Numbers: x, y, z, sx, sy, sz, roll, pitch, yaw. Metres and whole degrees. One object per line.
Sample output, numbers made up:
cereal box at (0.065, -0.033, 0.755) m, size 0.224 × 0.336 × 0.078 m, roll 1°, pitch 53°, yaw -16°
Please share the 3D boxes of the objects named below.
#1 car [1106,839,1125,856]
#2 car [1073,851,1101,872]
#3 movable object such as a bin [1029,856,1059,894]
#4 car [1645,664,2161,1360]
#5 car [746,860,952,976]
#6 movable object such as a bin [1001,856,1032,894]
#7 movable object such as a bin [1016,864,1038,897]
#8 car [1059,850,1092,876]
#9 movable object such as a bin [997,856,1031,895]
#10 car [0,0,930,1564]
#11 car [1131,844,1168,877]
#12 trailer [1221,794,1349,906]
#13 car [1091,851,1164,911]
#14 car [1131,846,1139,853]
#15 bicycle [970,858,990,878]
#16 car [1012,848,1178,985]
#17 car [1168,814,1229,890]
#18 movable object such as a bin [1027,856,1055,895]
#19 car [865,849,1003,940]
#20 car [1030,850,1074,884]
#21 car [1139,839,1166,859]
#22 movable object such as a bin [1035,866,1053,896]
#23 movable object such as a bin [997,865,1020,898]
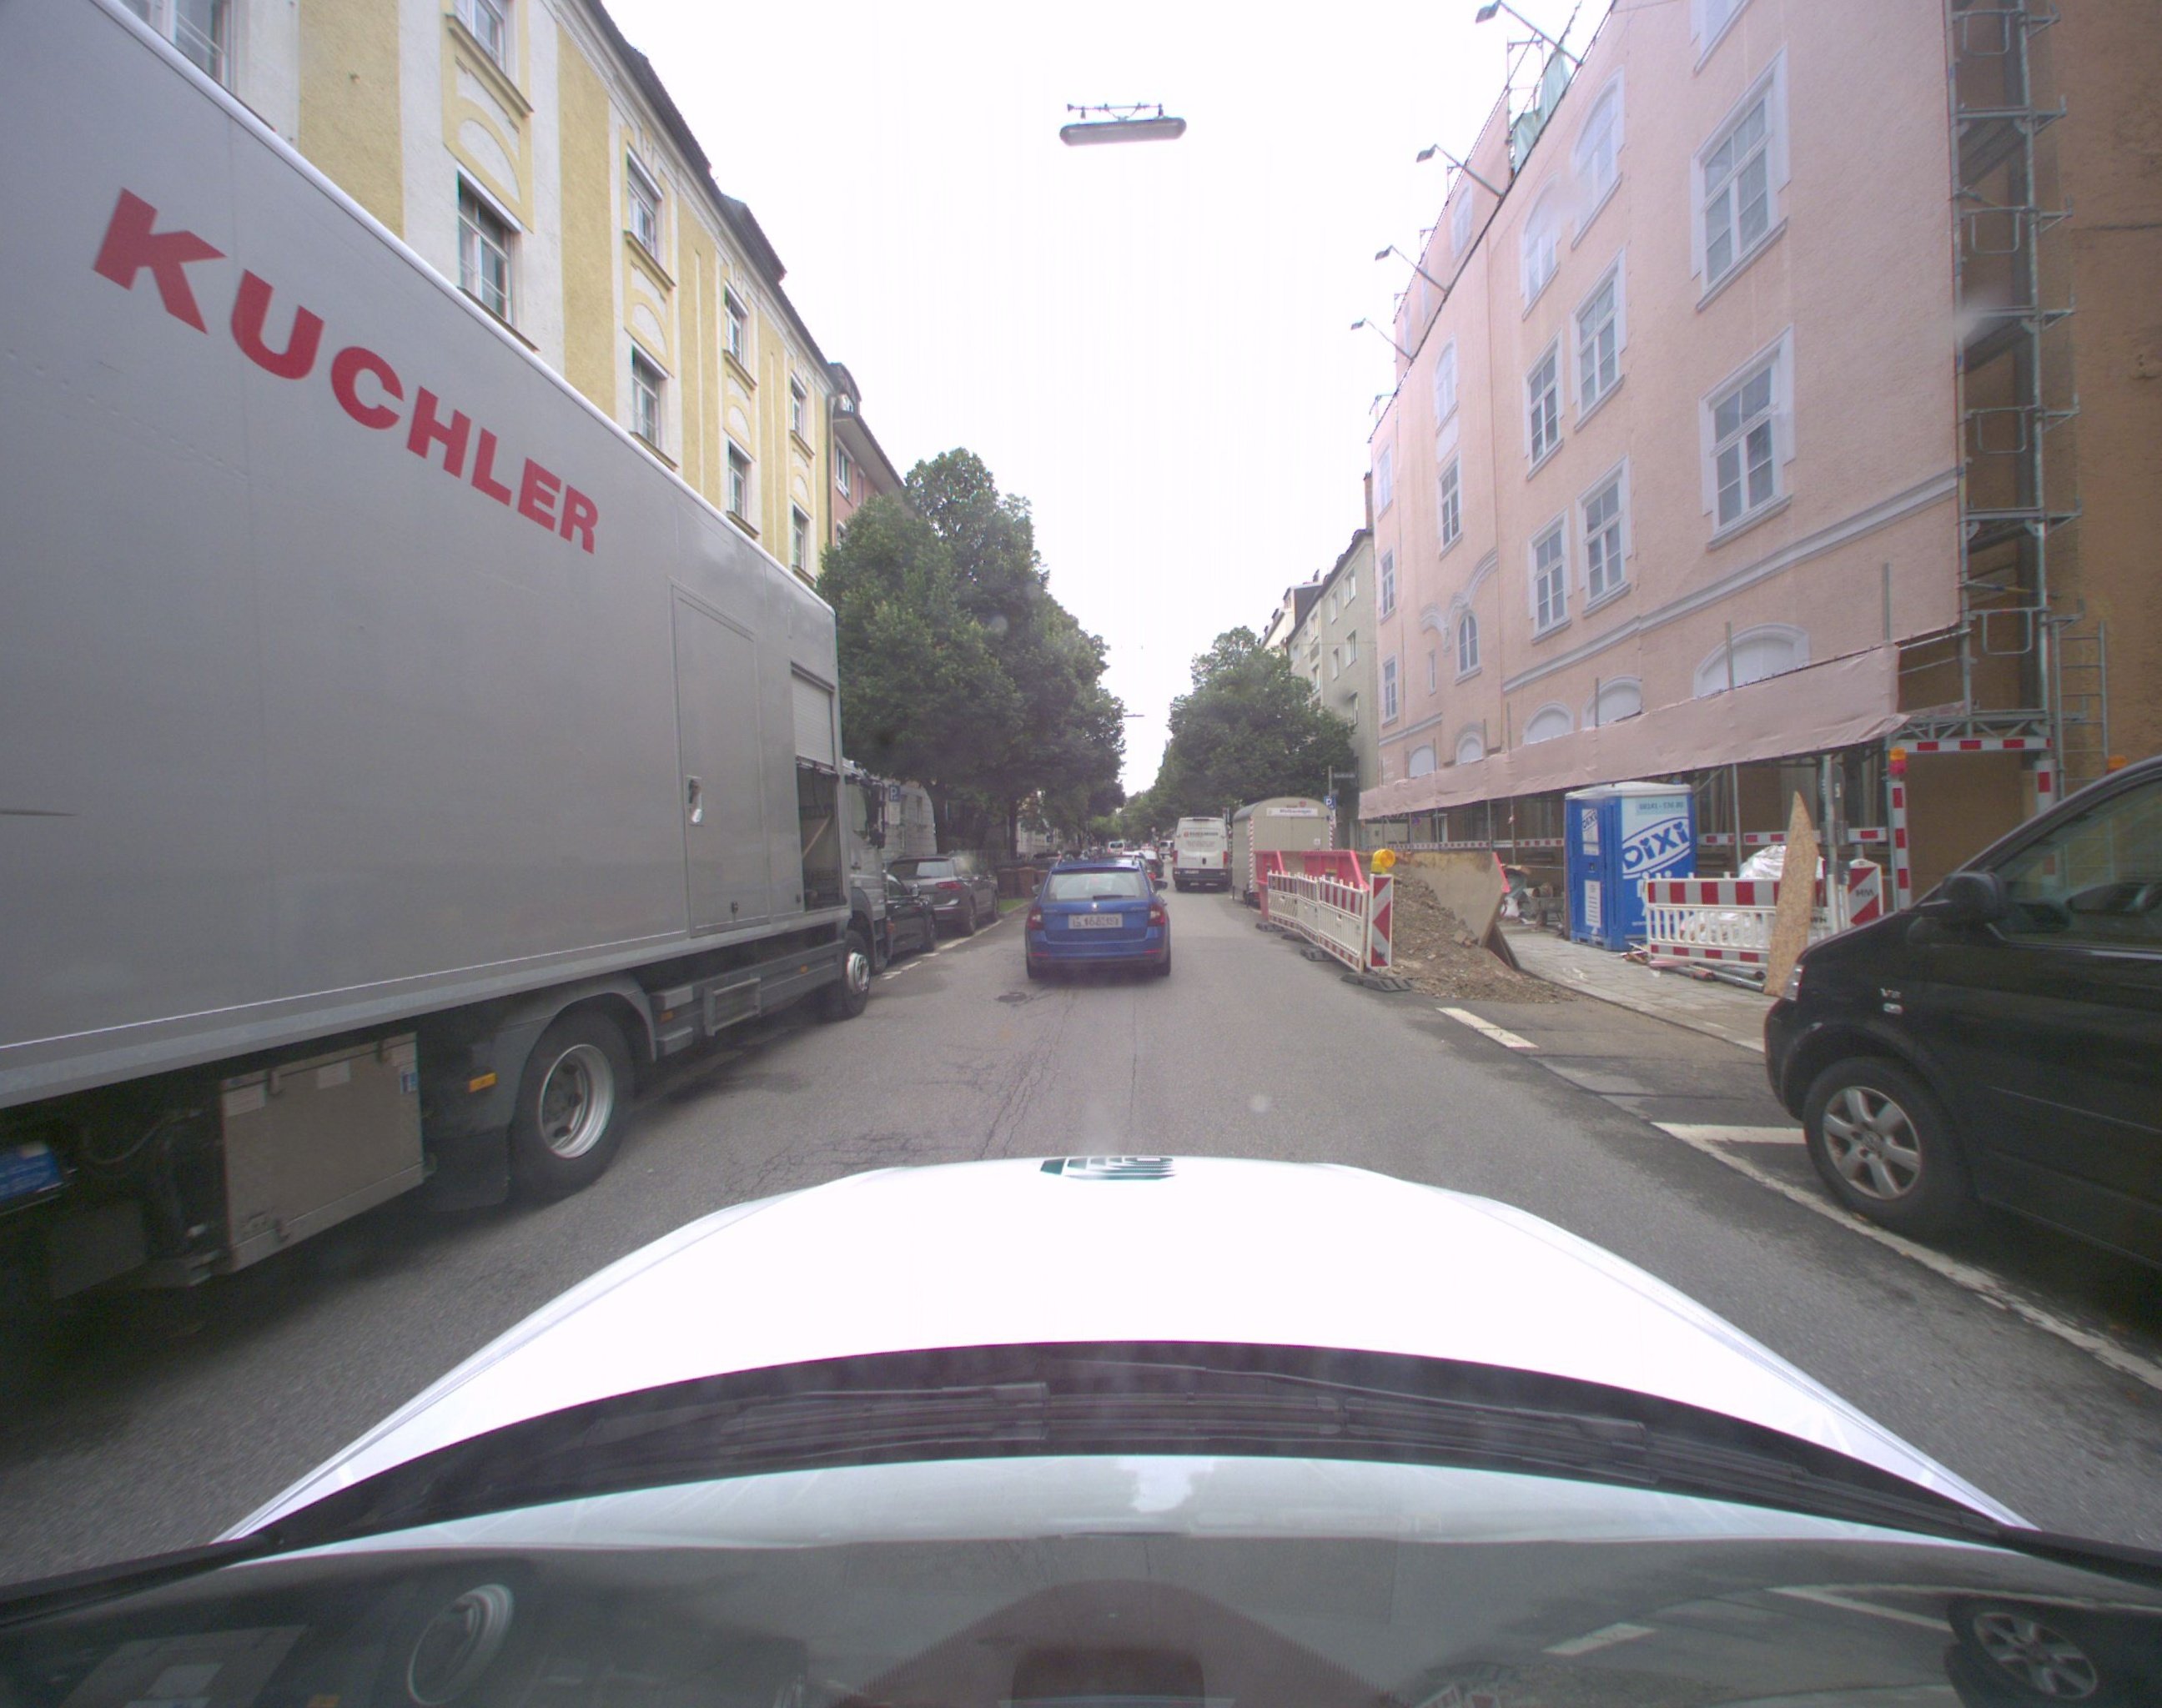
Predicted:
car at (3.782, -0.740, 89.828) m, size 1.862 × 1.869 × 4.344 m, roll 0°, pitch 1°, yaw -2°
car at (0.484, 0.541, 60.908) m, size 1.804 × 1.478 × 4.004 m, roll -1°, pitch 0°, yaw 4°
movable object such as a bin at (-1.423, 0.808, 31.444) m, size 1.017 × 1.376 × 1.103 m, roll -3°, pitch 0°, yaw -1°
car at (4.000, 0.429, 1.936) m, size 2.073 × 1.921 × 5.146 m, roll 0°, pitch -2°, yaw 5°
car at (-3.270, 0.839, 12.277) m, size 1.691 × 1.409 × 3.714 m, roll -2°, pitch 0°, yaw 6°
movable object such as a bin at (-2.479, 0.807, 31.416) m, size 1.054 × 1.376 × 1.095 m, roll -3°, pitch 0°, yaw -1°
movable object such as a bin at (-1.951, 0.960, 29.453) m, size 0.709 × 1.148 × 0.636 m, roll -3°, pitch 0°, yaw 0°
car at (-0.283, 0.493, 48.879) m, size 1.805 × 1.478 × 4.002 m, roll -1°, pitch 0°, yaw 2°
movable object such as a bin at (-2.481, 0.787, 30.314) m, size 1.078 × 1.376 × 1.083 m, roll -3°, pitch 0°, yaw -1°
car at (-3.520, -0.361, 5.416) m, size 2.800 × 3.817 × 8.731 m, roll -2°, pitch 0°, yaw 3°
car at (3.649, 0.314, 43.697) m, size 1.859 × 1.696 × 4.351 m, roll 0°, pitch 1°, yaw 3°
trailer at (5.744, -0.090, 24.064) m, size 2.491 × 2.840 × 6.908 m, roll 0°, pitch 0°, yaw 4°
car at (1.275, 0.634, 21.205) m, size 1.732 × 1.422 × 3.669 m, roll 0°, pitch 0°, yaw 5°
car at (13.185, -1.054, 199.069) m, size 1.859 × 1.739 × 4.351 m, roll -2°, pitch 0°, yaw 3°
bicycle at (-5.814, 0.776, 46.842) m, size 0.632 × 1.067 × 2.391 m, roll -2°, pitch 0°, yaw 5°
car at (0.343, 0.685, 11.066) m, size 1.780 × 1.460 × 4.320 m, roll -2°, pitch 0°, yaw 5°
car at (4.586, -0.058, 31.236) m, size 2.100 × 2.663 × 5.515 m, roll 0°, pitch 0°, yaw 10°
movable object such as a bin at (-1.485, 0.799, 30.347) m, size 0.915 × 1.376 × 1.079 m, roll -3°, pitch 0°, yaw 0°
car at (-2.905, 0.736, 17.077) m, size 1.776 × 1.628 × 4.190 m, roll -2°, pitch 0°, yaw 4°
car at (-1.308, 0.574, 38.175) m, size 1.805 × 1.478 × 4.002 m, roll -1°, pitch 0°, yaw 2°
car at (6.012, -0.429, 68.830) m, size 1.862 × 1.696 × 4.346 m, roll 0°, pitch 1°, yaw -1°
movable object such as a bin at (-1.332, 0.968, 29.483) m, size 0.545 × 1.020 × 0.636 m, roll -3°, pitch 0°, yaw 0°
movable object such as a bin at (-2.618, 0.997, 29.431) m, size 0.718 × 1.138 × 0.658 m, roll -3°, pitch 0°, yaw 0°
